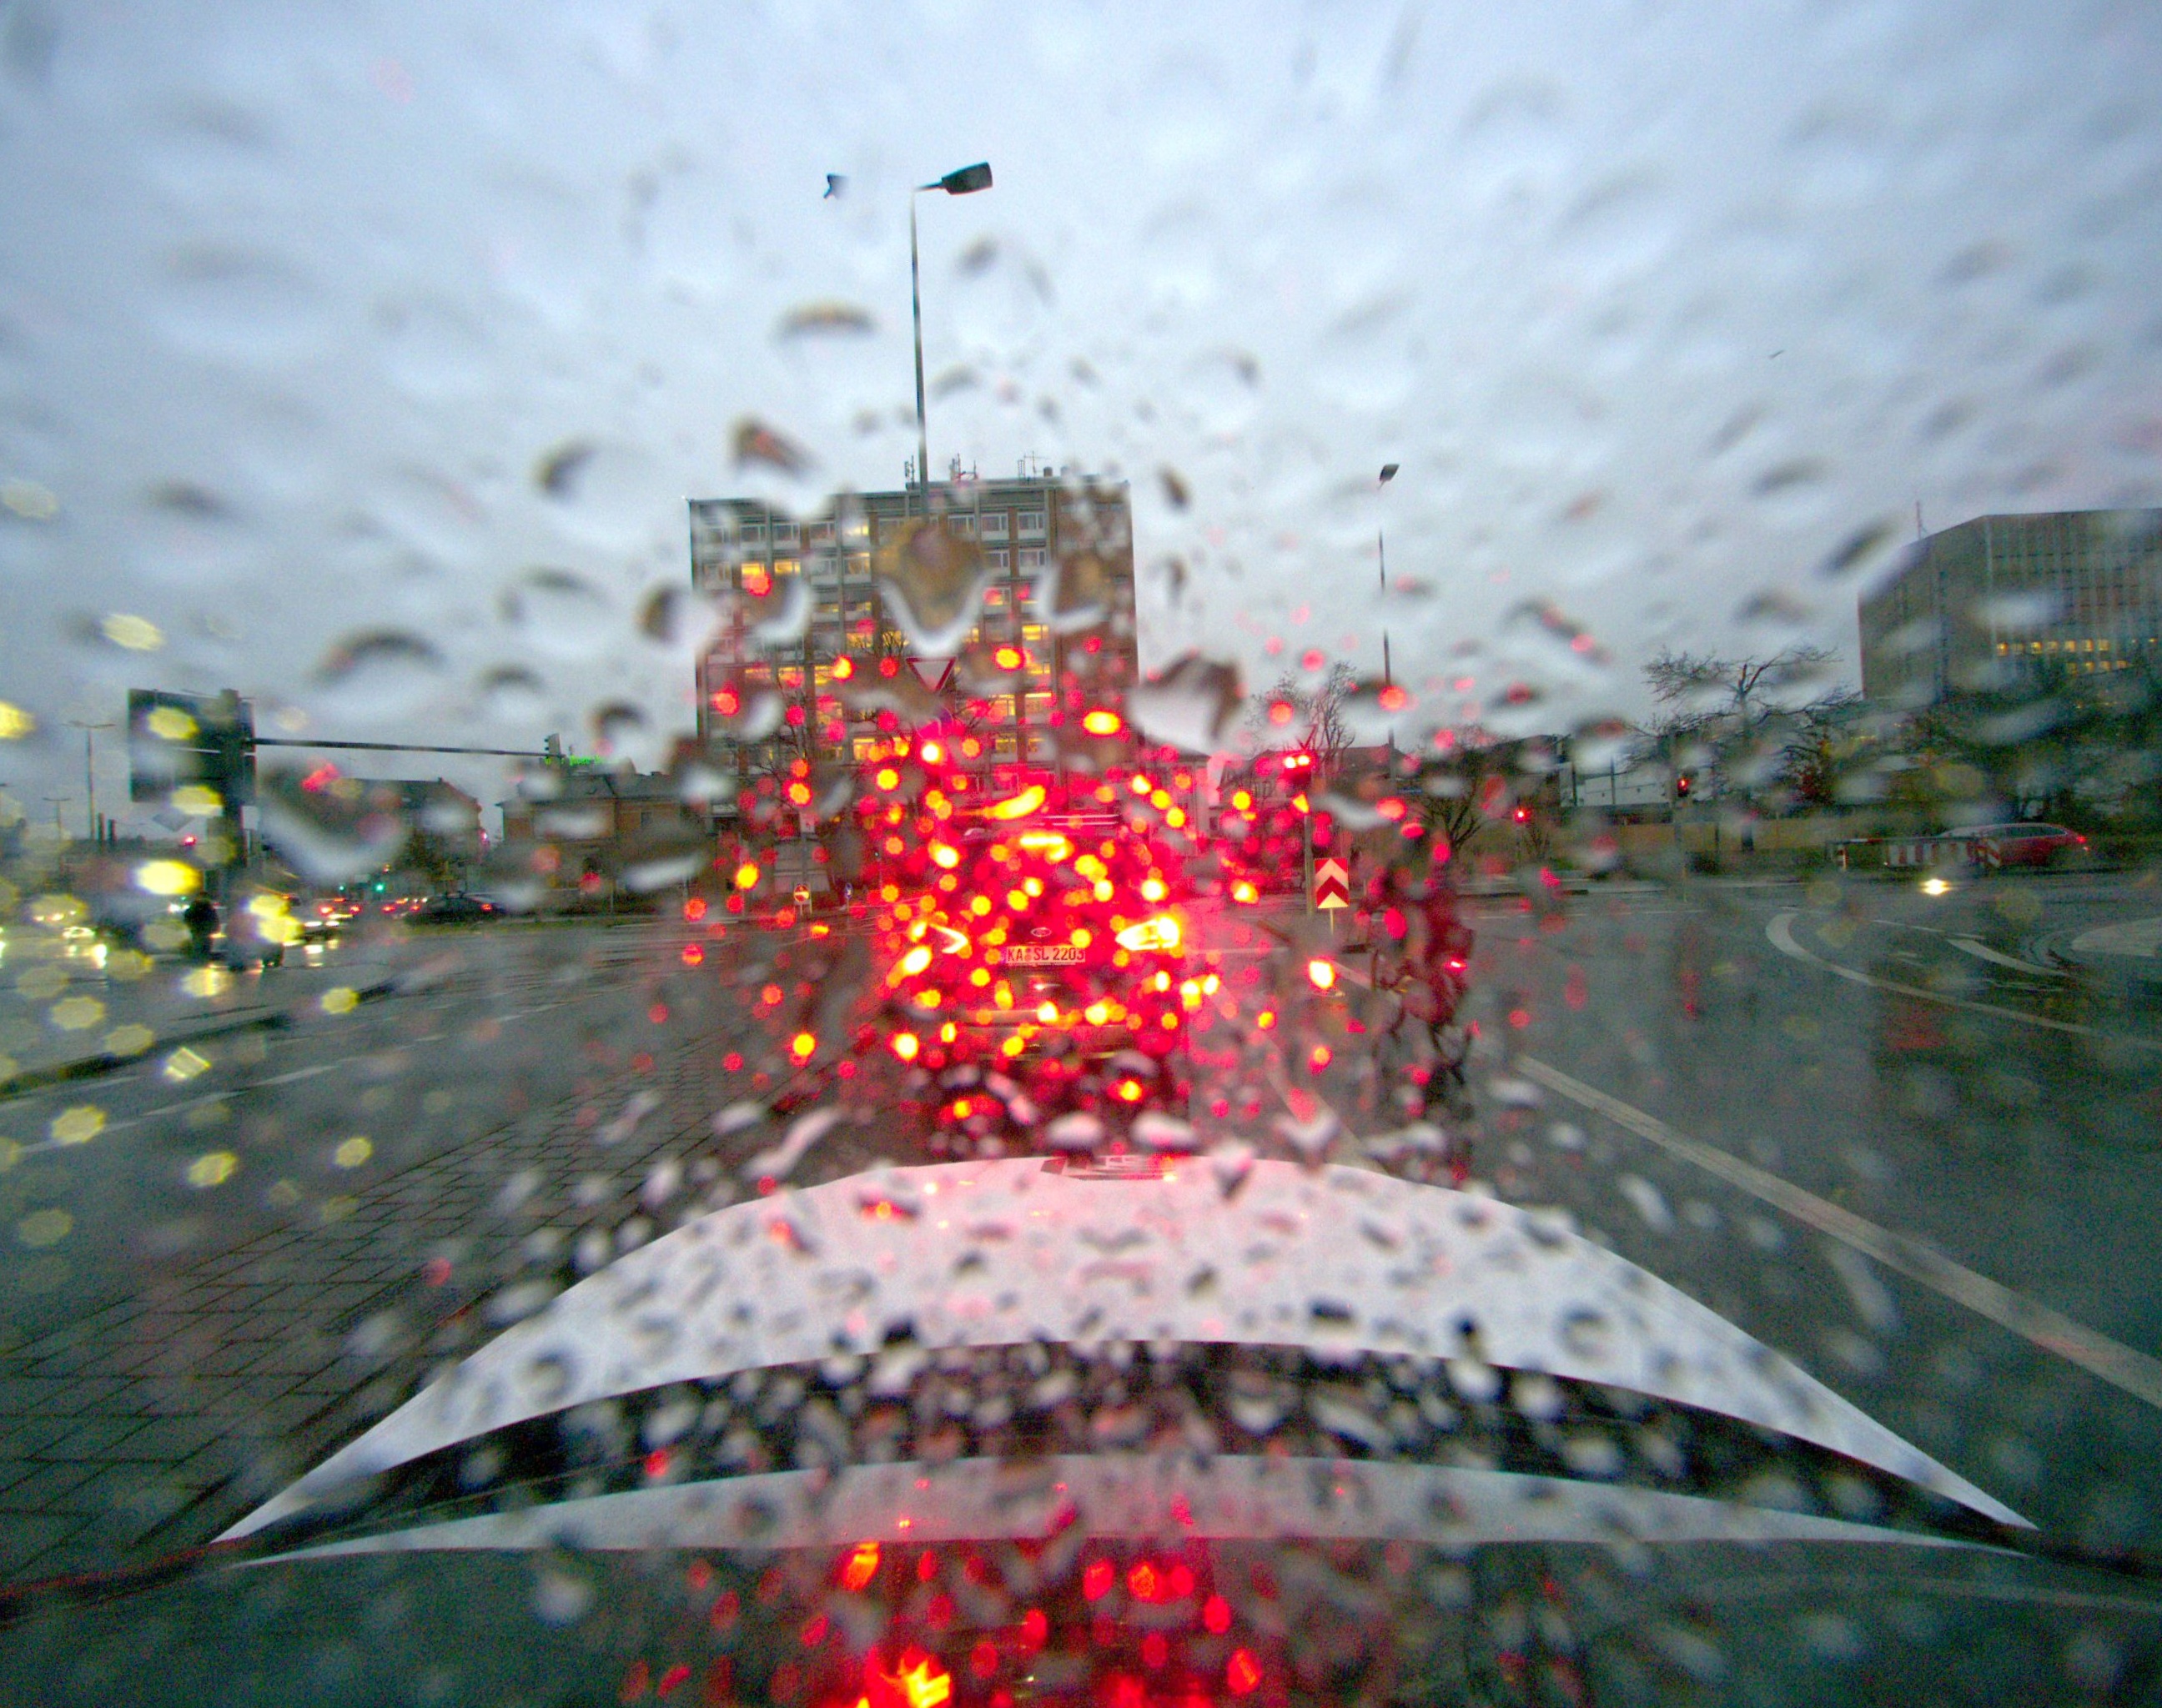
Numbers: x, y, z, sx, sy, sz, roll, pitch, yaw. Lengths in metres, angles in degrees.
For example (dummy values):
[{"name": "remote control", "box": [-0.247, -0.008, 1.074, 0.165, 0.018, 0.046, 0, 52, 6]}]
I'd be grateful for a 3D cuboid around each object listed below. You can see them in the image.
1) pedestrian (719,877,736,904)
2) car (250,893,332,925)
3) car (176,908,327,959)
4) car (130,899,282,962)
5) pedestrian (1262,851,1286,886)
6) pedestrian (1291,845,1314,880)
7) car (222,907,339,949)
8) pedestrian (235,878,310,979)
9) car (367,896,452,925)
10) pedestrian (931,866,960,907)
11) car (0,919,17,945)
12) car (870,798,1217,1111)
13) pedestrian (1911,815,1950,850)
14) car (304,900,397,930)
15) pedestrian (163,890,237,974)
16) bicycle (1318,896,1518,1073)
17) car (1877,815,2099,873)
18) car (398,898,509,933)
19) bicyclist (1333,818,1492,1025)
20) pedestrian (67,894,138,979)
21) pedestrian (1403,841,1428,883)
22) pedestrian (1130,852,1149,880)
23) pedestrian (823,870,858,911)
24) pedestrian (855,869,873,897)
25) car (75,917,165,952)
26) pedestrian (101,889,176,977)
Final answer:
[{"name": "pedestrian", "box": [-23.169, 2.386, 53.372, 0.634, 1.688, 0.640, -3, 0, 18]}, {"name": "car", "box": [-51.152, 3.548, 52.771, 1.649, 1.826, 3.609, -1, -1, 39]}, {"name": "car", "box": [-29.648, 2.840, 29.122, 4.644, 1.552, 1.948, -3, -1, 19]}, {"name": "car", "box": [-25.177, 2.185, 23.440, 3.669, 1.448, 1.755, -5, -1, 22]}, {"name": "pedestrian", "box": [10.009, 0.741, 42.298, 1.127, 1.720, 0.984, -3, 0, 12]}, {"name": "pedestrian", "box": [11.843, 0.451, 43.543, 0.990, 1.799, 0.922, -3, 0, 10]}, {"name": "car", "box": [-33.354, 3.090, 33.944, 4.537, 1.477, 1.821, -3, -1, 23]}, {"name": "pedestrian", "box": [-17.312, 1.561, 17.465, 0.996, 2.021, 0.792, -3, 0, -39]}, {"name": "car", "box": [-38.396, 3.190, 46.619, 1.496, 1.461, 3.453, -1, -1, 31]}, {"name": "pedestrian", "box": [-6.903, 1.662, 41.428, 0.918, 1.978, 0.966, -3, 0, 36]}, {"name": "car", "box": [-66.445, 4.772, 49.032, 4.614, 1.477, 1.821, -3, -1, 23]}, {"name": "car", "box": [-0.156, 0.595, 6.688, 1.986, 1.789, 4.001, 0, -1, 2]}, {"name": "pedestrian", "box": [40.757, -1.045, 39.075, 0.956, 1.603, 0.796, -3, 0, 9]}, {"name": "car", "box": [-43.814, 3.637, 48.918, 1.582, 1.482, 3.840, -1, -1, 31]}, {"name": "pedestrian", "box": [-19.537, 1.715, 18.074, 0.653, 1.755, 0.856, -3, 0, 18]}, {"name": "bicycle", "box": [2.492, 0.906, 6.315, 0.780, 1.075, 1.958, 0, -1, 2]}, {"name": "car", "box": [27.560, -0.264, 24.891, 4.390, 1.477, 1.814, -3, -1, 6]}, {"name": "car", "box": [-30.922, 3.027, 40.231, 3.980, 1.568, 1.824, 0, -1, -5]}, {"name": "bicyclist", "box": [2.507, 0.480, 6.299, 0.780, 1.453, 1.134, 0, -1, 2]}, {"name": "pedestrian", "box": [-21.466, 1.790, 17.874, 0.741, 1.770, 0.546, -3, 0, -12]}, {"name": "pedestrian", "box": [17.479, 0.404, 42.547, 0.879, 2.113, 0.897, -3, 0, 5]}, {"name": "pedestrian", "box": [3.440, 0.701, 47.714, 0.764, 1.628, 0.715, -3, 0, -28]}, {"name": "pedestrian", "box": [-11.798, 1.789, 39.941, 0.991, 1.842, 1.146, -3, 2, 30]}, {"name": "pedestrian", "box": [-13.253, 1.779, 49.706, 0.753, 1.628, 0.560, -3, 0, 16]}, {"name": "car", "box": [-46.971, 3.945, 39.807, 3.919, 1.477, 1.822, -3, -1, 25]}, {"name": "pedestrian", "box": [-20.753, 1.720, 17.947, 0.733, 1.838, 0.674, -3, 0, -11]}]
